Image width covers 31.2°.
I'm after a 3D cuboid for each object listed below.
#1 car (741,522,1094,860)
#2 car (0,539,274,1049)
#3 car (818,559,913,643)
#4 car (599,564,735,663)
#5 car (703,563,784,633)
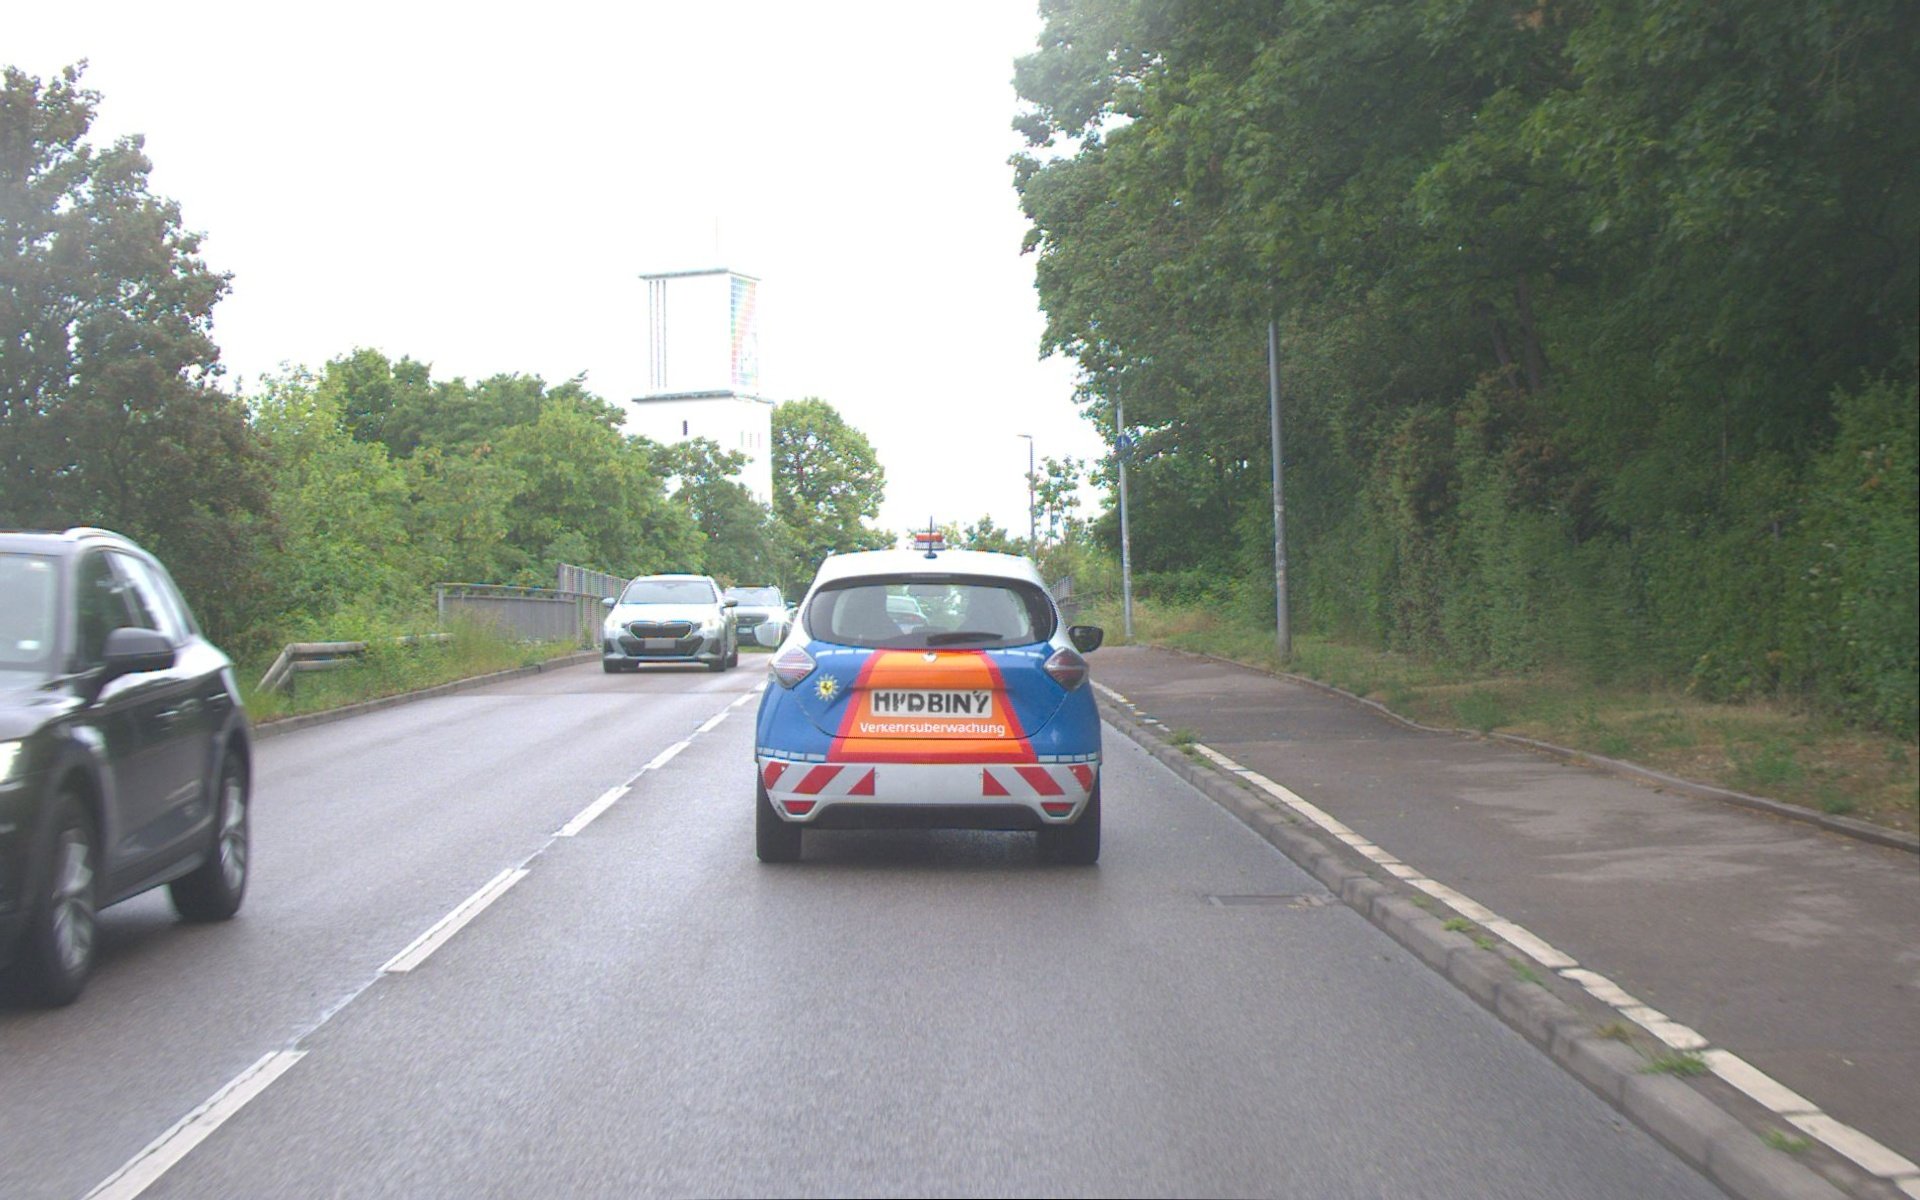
[{"bbox_3d":[-0.230,0.442,18.094,1.657,1.587,3.568,-1,0,-1],"label":"car"},{"bbox_3d":[-3.885,0.585,12.828,1.869,1.580,4.415,-1,1,-2],"label":"car"},{"bbox_3d":[-1.895,0.016,68.859,1.802,1.584,3.563,-2,0,-1],"label":"car"},{"bbox_3d":[-4.617,0.182,54.709,1.861,1.498,4.728,0,1,-1],"label":"car"},{"bbox_3d":[-5.063,-0.058,80.725,1.730,1.580,4.081,0,0,-1],"label":"car"}]
